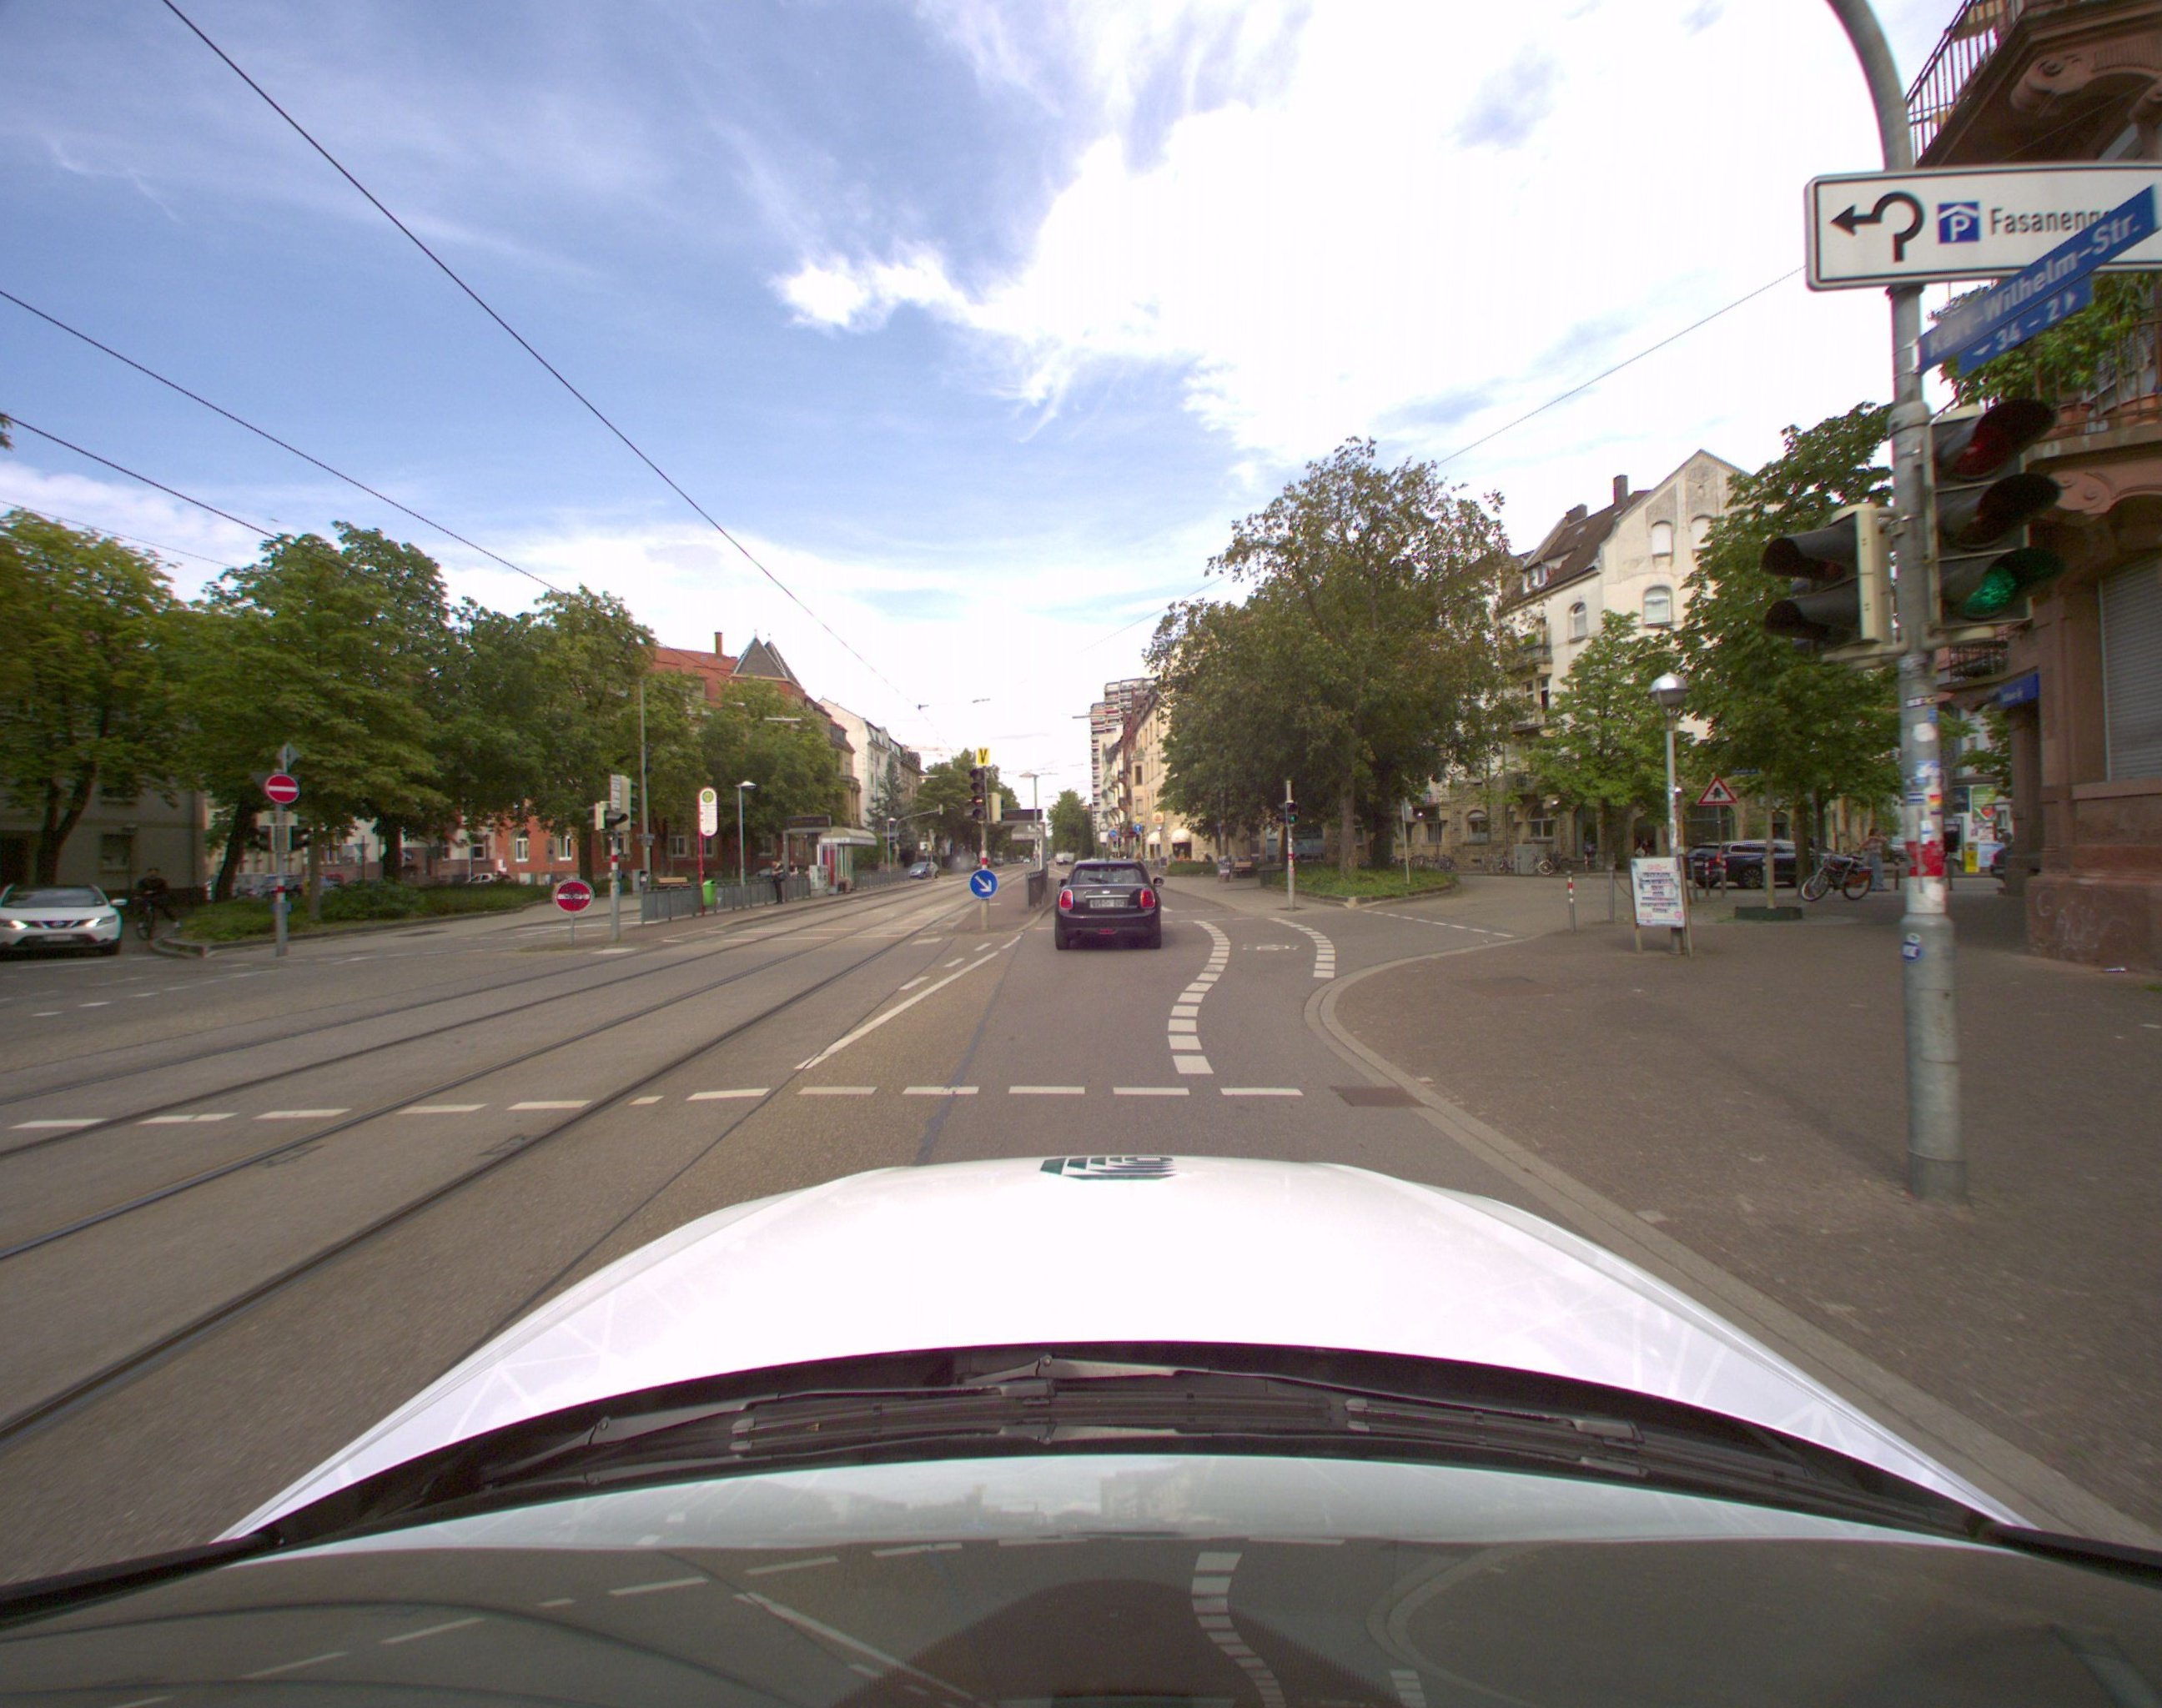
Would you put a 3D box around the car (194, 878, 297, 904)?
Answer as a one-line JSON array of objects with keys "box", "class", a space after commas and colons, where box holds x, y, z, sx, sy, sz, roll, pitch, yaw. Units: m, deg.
[{"box": [-51.726, 2.252, 50.516, 1.794, 1.395, 4.020, -2, 0, 20], "class": "car"}]

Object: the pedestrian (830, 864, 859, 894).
[{"box": [-10.779, 1.143, 37.123, 1.057, 1.294, 0.983, -2, 0, -7], "class": "pedestrian"}]

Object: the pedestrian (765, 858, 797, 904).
[{"box": [-10.735, 0.953, 29.151, 0.851, 1.621, 0.841, -2, -1, -7], "class": "pedestrian"}]

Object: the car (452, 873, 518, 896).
[{"box": [-42.073, 2.142, 57.471, 3.953, 1.478, 1.825, -2, 0, 21], "class": "car"}]

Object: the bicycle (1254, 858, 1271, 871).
[{"box": [13.470, 0.776, 60.491, 0.526, 0.972, 1.659, -2, 0, 40], "class": "bicycle"}]

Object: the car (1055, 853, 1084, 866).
[{"box": [-2.052, 0.946, 152.133, 5.067, 2.272, 2.368, -2, 0, -42], "class": "car"}]

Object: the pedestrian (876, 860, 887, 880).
[{"box": [-18.101, 1.405, 73.944, 0.728, 1.783, 0.835, -2, 0, -2], "class": "pedestrian"}]

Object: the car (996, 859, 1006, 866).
[{"box": [-18.155, 1.999, 185.221, 1.988, 1.552, 3.998, -2, 0, -1], "class": "car"}]

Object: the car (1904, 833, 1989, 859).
[{"box": [50.676, -0.470, 47.770, 1.752, 1.395, 4.020, -2, 0, 19], "class": "car"}]

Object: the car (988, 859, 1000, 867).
[{"box": [-18.042, 1.869, 168.992, 1.988, 1.552, 3.998, -2, 0, -1], "class": "car"}]

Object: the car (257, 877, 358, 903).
[{"box": [-46.930, 2.162, 49.498, 1.794, 1.395, 4.020, -2, 0, 20], "class": "car"}]

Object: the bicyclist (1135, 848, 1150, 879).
[{"box": [3.135, 0.487, 41.479, 0.593, 1.550, 1.013, -2, 0, -2], "class": "bicyclist"}]

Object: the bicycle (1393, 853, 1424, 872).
[{"box": [20.595, 0.504, 51.249, 1.893, 1.128, 0.579, -2, 0, -19], "class": "bicycle"}]

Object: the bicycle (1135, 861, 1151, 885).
[{"box": [3.153, 0.959, 41.481, 0.597, 1.170, 1.695, -2, 0, -1], "class": "bicycle"}]

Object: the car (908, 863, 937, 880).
[{"box": [-13.586, 1.491, 69.976, 1.746, 1.441, 3.999, 0, 0, 0], "class": "car"}]

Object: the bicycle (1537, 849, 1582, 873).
[{"box": [23.456, 0.328, 39.939, 1.882, 1.128, 0.532, -2, 0, -1], "class": "bicycle"}]

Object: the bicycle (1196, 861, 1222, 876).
[{"box": [9.530, 1.087, 60.806, 1.797, 1.076, 0.621, -2, 0, 38], "class": "bicycle"}]

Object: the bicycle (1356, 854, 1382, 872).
[{"box": [19.116, 0.598, 54.038, 1.901, 1.128, 0.527, -3, 0, -33], "class": "bicycle"}]

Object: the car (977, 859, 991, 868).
[{"box": [-17.364, 1.668, 146.048, 1.988, 1.552, 3.998, -2, 0, -1], "class": "car"}]

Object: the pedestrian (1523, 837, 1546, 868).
[{"box": [25.086, -0.088, 45.032, 0.730, 1.676, 0.833, -2, 0, -8], "class": "pedestrian"}]

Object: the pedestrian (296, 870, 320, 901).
[{"box": [-44.626, 1.836, 47.010, 0.724, 1.754, 0.687, -2, 0, 19], "class": "pedestrian"}]

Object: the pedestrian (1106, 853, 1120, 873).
[{"box": [2.849, 0.809, 72.076, 0.723, 1.674, 0.840, -5, 0, 45], "class": "pedestrian"}]

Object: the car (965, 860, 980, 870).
[{"box": [-15.862, 1.662, 119.385, 1.762, 1.395, 3.996, -2, 0, -2], "class": "car"}]

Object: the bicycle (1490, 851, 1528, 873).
[{"box": [23.061, 0.444, 43.869, 1.890, 1.128, 0.530, -2, 0, -14], "class": "bicycle"}]

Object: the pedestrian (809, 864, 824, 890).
[{"box": [-18.150, 1.584, 55.948, 0.832, 1.703, 0.731, -2, 0, -7], "class": "pedestrian"}]

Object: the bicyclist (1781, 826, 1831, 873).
[{"box": [25.774, -0.158, 28.980, 1.126, 1.606, 0.649, -2, 0, 19], "class": "bicyclist"}]

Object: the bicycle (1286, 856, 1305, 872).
[{"box": [15.401, 0.712, 58.329, 0.526, 1.128, 1.906, -2, 0, 40], "class": "bicycle"}]

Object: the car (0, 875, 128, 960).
[{"box": [-23.222, 1.437, 18.493, 4.105, 1.721, 1.852, -4, -3, 38], "class": "car"}]

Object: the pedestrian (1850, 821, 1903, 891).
[{"box": [20.565, 0.046, 21.063, 0.723, 1.729, 0.899, -3, 0, 31], "class": "pedestrian"}]

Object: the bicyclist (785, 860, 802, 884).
[{"box": [-16.531, 1.024, 46.778, 0.659, 1.339, 0.835, -2, 0, -2], "class": "bicyclist"}]

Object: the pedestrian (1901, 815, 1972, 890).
[{"box": [20.665, -0.031, 19.684, 0.882, 1.729, 0.761, -3, 0, 22], "class": "pedestrian"}]

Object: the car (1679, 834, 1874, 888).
[{"box": [20.752, 0.199, 24.411, 4.455, 1.441, 1.755, -2, 0, -3], "class": "car"}]

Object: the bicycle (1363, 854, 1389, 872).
[{"box": [19.386, 0.582, 53.563, 1.901, 1.128, 0.527, -3, 0, -33], "class": "bicycle"}]

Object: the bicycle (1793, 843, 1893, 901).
[{"box": [16.001, 0.364, 17.114, 1.667, 1.144, 0.671, -2, 0, -11], "class": "bicycle"}]

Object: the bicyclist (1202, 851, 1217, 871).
[{"box": [9.578, 0.503, 60.758, 0.903, 1.473, 0.621, -2, 0, 38], "class": "bicyclist"}]

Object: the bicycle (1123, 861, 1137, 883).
[{"box": [2.737, 0.983, 45.874, 0.681, 1.170, 1.696, -2, 0, 0], "class": "bicycle"}]

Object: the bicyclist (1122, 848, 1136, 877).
[{"box": [2.723, 0.484, 45.820, 0.682, 1.564, 0.998, -2, 0, 0], "class": "bicyclist"}]

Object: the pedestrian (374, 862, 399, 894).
[{"box": [-38.859, 1.342, 45.581, 0.745, 1.754, 0.736, -2, 0, 16], "class": "pedestrian"}]

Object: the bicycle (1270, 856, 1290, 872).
[{"box": [14.456, 0.709, 59.147, 0.526, 1.128, 1.906, -2, 0, 40], "class": "bicycle"}]

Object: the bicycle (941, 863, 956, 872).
[{"box": [-16.264, 1.652, 99.871, 1.681, 1.119, 0.566, -2, 0, -41], "class": "bicycle"}]

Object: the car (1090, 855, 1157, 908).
[{"box": [1.290, 0.832, 26.080, 1.920, 1.510, 4.000, -2, 0, 0], "class": "car"}]

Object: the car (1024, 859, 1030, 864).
[{"box": [-15.795, 2.128, 239.365, 1.762, 1.395, 3.996, -2, 0, -2], "class": "car"}]

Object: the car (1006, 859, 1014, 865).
[{"box": [-19.249, 2.190, 221.404, 1.988, 1.552, 3.998, -2, 0, -1], "class": "car"}]

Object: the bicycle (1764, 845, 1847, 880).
[{"box": [25.761, 0.310, 28.992, 2.079, 1.152, 0.658, -2, 0, 19], "class": "bicycle"}]

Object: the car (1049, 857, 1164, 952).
[{"box": [0.461, 0.776, 14.384, 1.745, 1.441, 4.002, 0, 0, 2], "class": "car"}]

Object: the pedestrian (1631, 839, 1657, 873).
[{"box": [27.131, 0.090, 39.244, 0.826, 1.623, 0.736, -2, 0, 18], "class": "pedestrian"}]

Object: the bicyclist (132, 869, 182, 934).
[{"box": [-25.845, 1.308, 22.795, 0.614, 1.775, 0.902, -2, 0, -30], "class": "bicyclist"}]

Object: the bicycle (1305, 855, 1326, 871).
[{"box": [16.475, 0.626, 57.150, 0.659, 1.128, 1.906, -2, 0, 40], "class": "bicycle"}]

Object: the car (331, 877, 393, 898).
[{"box": [-54.460, 2.531, 61.674, 3.953, 1.395, 1.825, -2, 0, 21], "class": "car"}]

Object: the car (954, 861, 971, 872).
[{"box": [-15.618, 1.618, 107.369, 1.762, 1.395, 3.996, -2, 0, -2], "class": "car"}]

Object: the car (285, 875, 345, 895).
[{"box": [-59.652, 2.424, 63.440, 3.953, 1.395, 1.825, -2, 0, 21], "class": "car"}]

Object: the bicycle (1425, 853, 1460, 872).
[{"box": [21.615, 0.505, 48.730, 1.885, 1.128, 0.532, -2, 0, -6], "class": "bicycle"}]

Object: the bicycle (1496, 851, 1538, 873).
[{"box": [22.970, 0.409, 42.962, 1.879, 1.128, 0.533, -2, 0, 3], "class": "bicycle"}]

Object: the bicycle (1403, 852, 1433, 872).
[{"box": [20.916, 0.494, 50.502, 1.897, 1.128, 0.590, -2, 0, -25], "class": "bicycle"}]

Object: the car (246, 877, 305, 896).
[{"box": [-64.346, 2.591, 65.075, 3.953, 1.395, 1.825, -2, 0, 21], "class": "car"}]

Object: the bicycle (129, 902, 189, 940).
[{"box": [-25.871, 1.872, 22.869, 0.610, 0.936, 1.561, -2, 0, -29], "class": "bicycle"}]

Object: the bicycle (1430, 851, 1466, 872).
[{"box": [21.710, 0.440, 48.149, 1.885, 1.128, 0.532, -2, 0, -6], "class": "bicycle"}]
